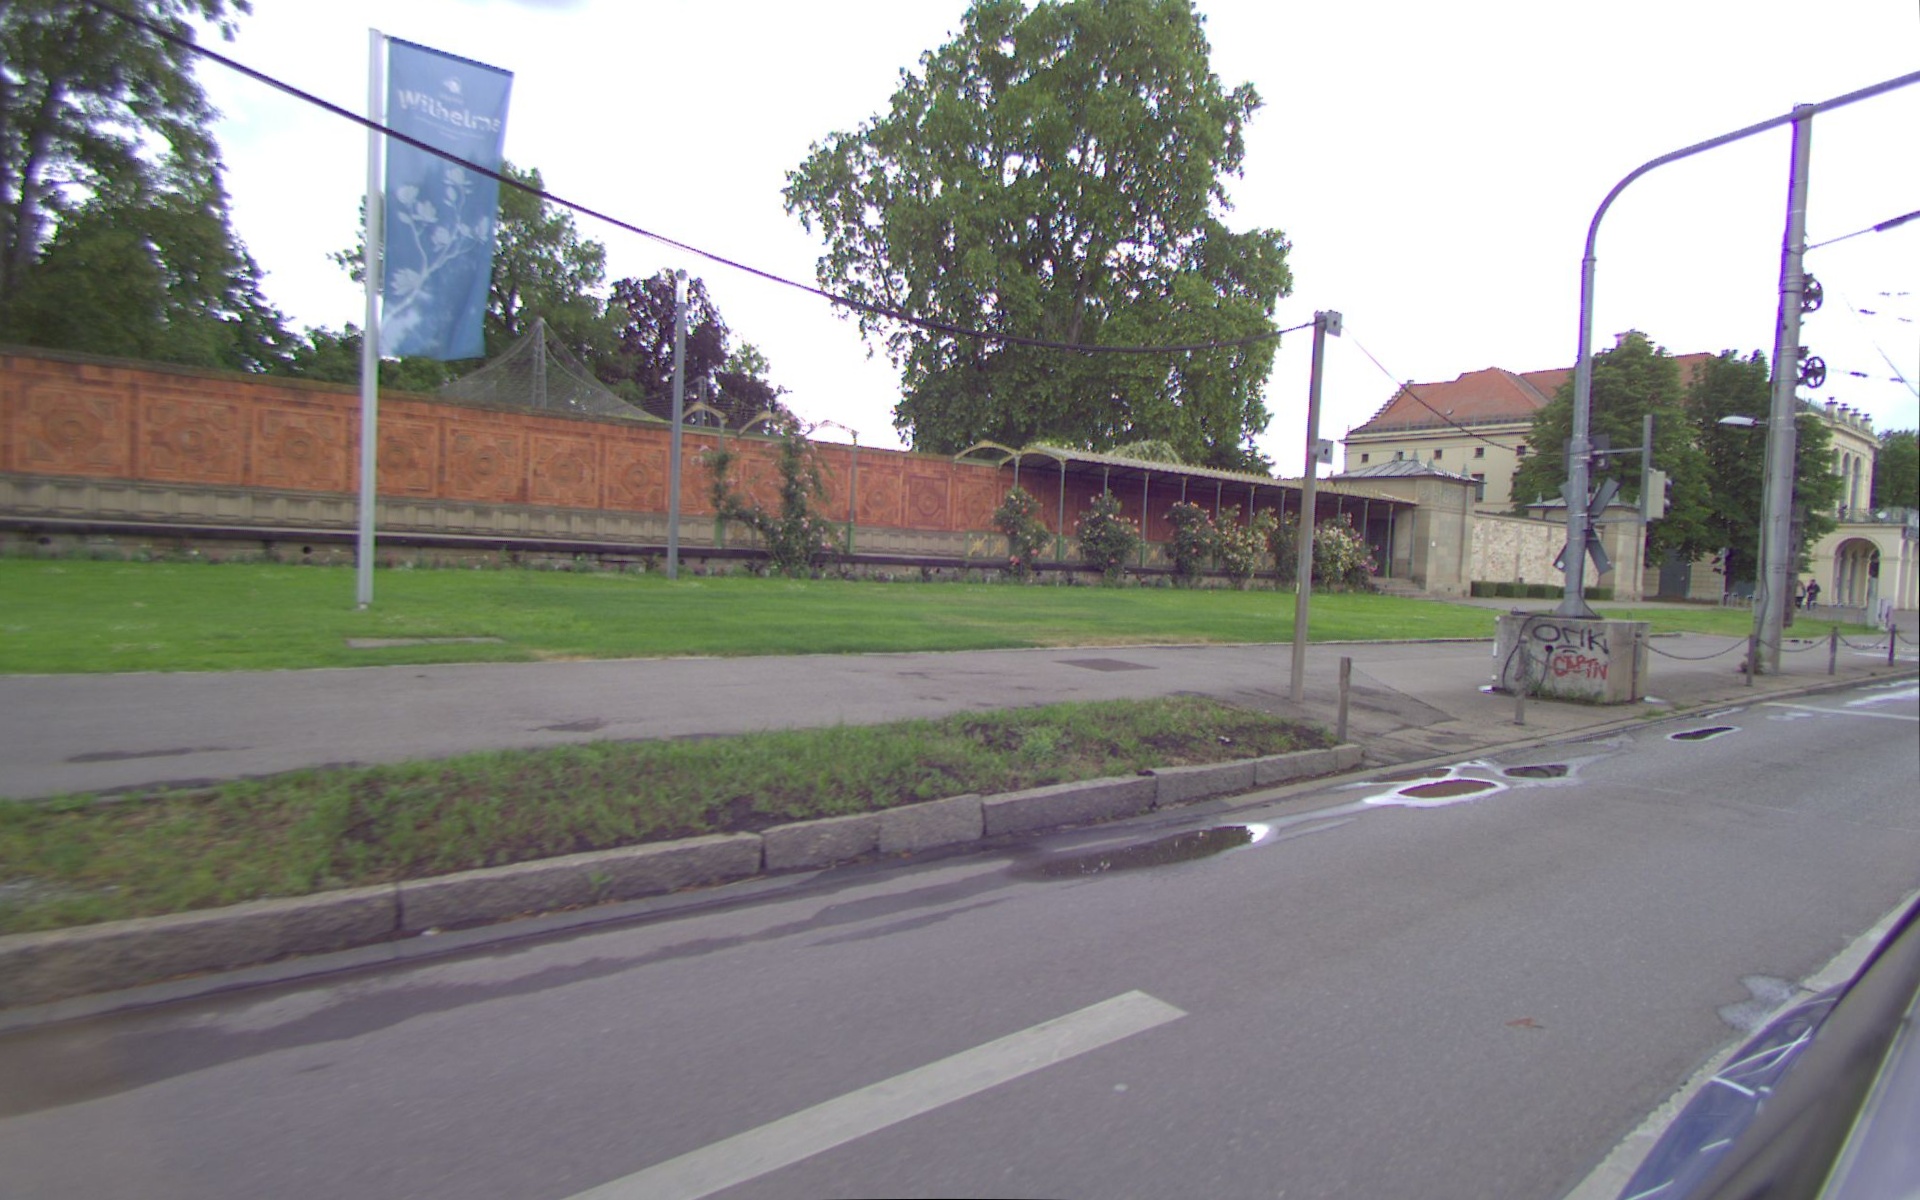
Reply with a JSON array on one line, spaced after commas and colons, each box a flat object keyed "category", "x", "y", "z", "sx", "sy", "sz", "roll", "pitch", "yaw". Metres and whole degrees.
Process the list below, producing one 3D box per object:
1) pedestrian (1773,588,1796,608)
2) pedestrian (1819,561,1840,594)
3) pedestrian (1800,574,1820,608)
[{"category": "pedestrian", "x": 45.134, "y": -0.126, "z": 55.415, "sx": 0.749, "sy": 1.012, "sz": 0.593, "roll": 3, "pitch": 3, "yaw": 19}, {"category": "pedestrian", "x": 46.310, "y": -1.177, "z": 53.902, "sx": 0.776, "sy": 1.719, "sz": 0.598, "roll": 1, "pitch": 3, "yaw": -37}, {"category": "pedestrian", "x": 45.798, "y": -0.495, "z": 54.521, "sx": 0.793, "sy": 1.814, "sz": 0.597, "roll": 1, "pitch": 3, "yaw": -37}]
